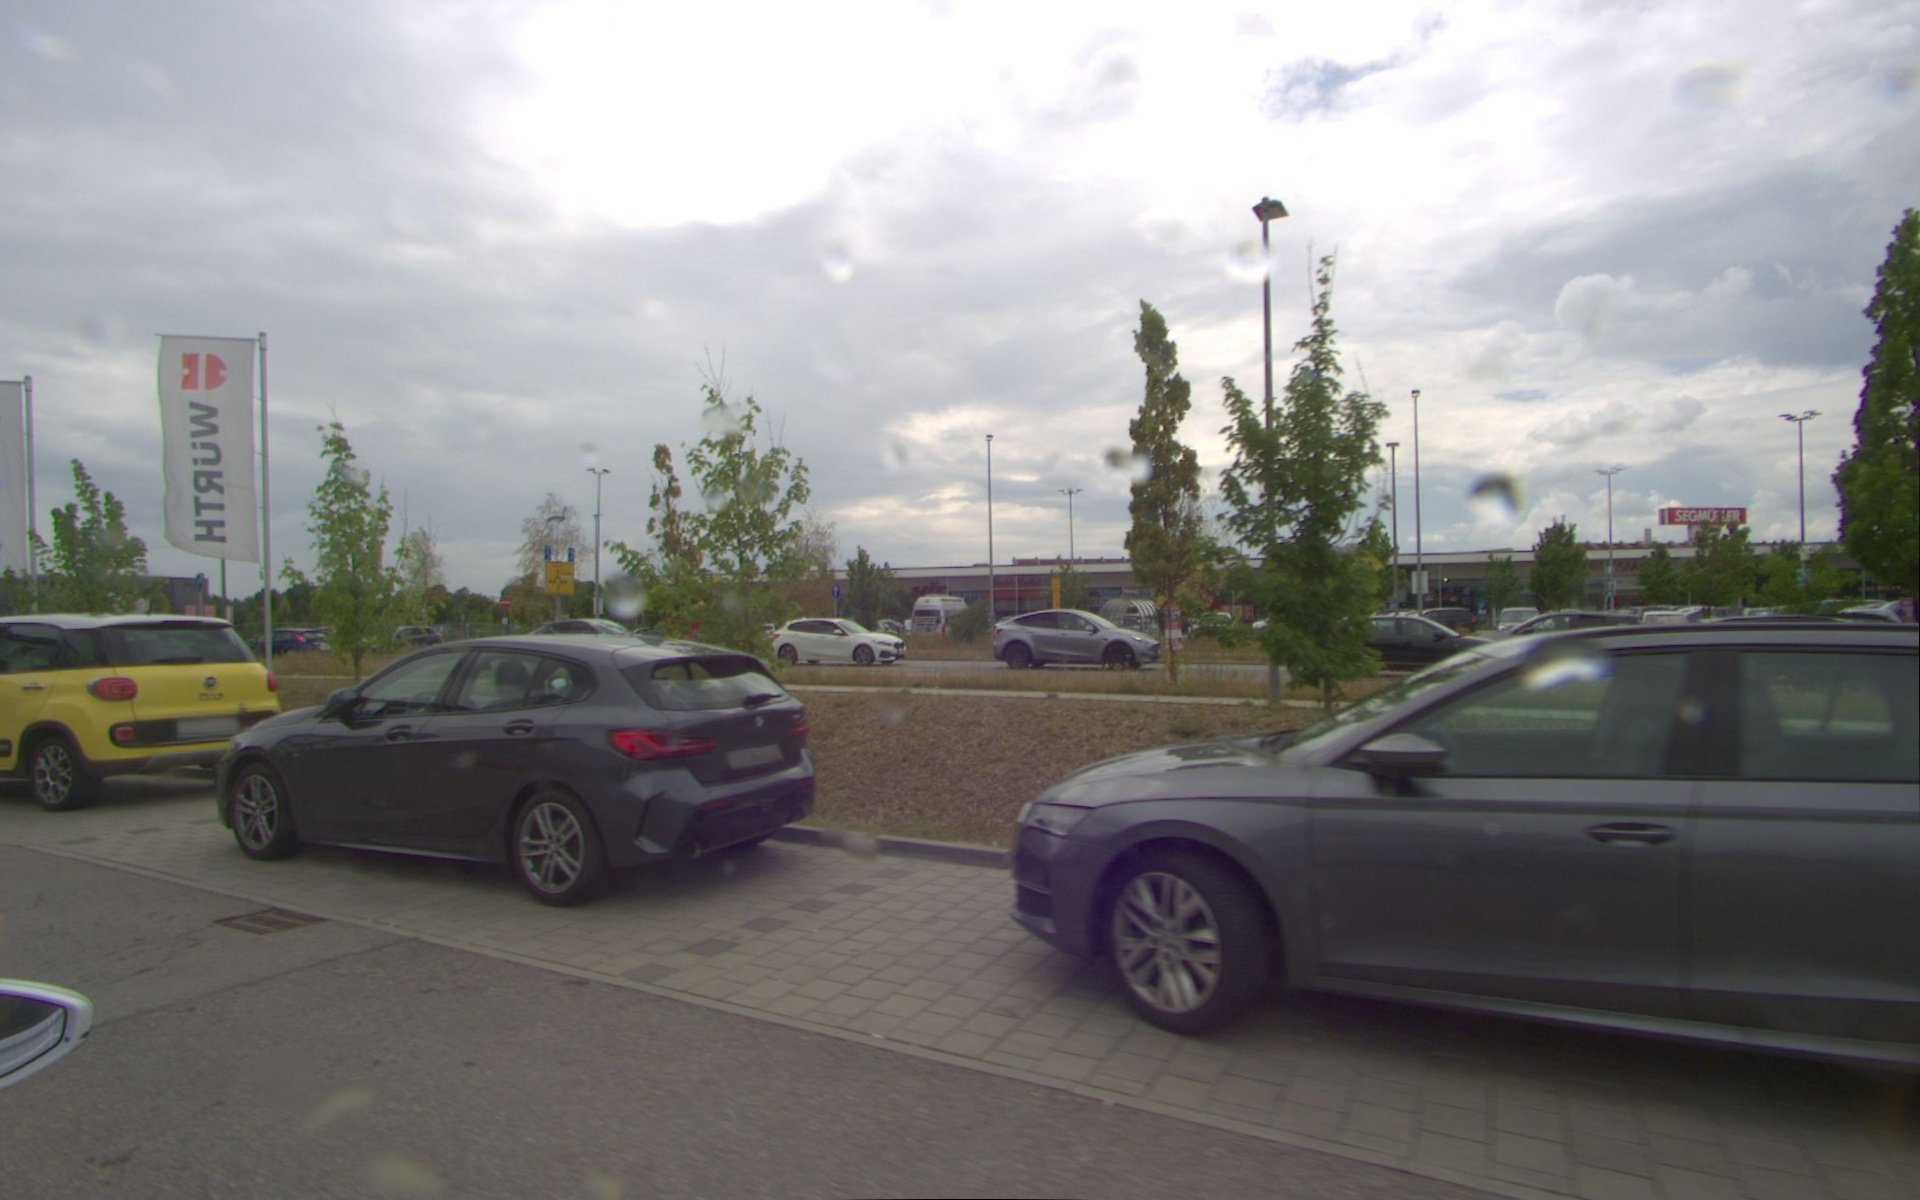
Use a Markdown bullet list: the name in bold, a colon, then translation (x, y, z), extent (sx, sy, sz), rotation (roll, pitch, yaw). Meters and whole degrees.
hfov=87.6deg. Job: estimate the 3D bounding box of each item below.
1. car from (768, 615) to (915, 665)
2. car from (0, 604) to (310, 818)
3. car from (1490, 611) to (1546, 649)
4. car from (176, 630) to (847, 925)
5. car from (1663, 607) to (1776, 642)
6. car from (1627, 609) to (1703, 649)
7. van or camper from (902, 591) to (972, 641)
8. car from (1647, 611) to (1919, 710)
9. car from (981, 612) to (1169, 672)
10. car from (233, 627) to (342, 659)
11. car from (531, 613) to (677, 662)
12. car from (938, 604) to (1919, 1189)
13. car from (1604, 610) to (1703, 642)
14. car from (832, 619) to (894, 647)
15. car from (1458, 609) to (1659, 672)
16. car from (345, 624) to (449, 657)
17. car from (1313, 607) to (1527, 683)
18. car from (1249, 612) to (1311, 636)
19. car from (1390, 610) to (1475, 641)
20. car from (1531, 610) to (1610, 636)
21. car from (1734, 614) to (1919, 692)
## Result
- **car**: translation (-3.672, 1.250, 31.054), extent (4.175, 1.469, 1.797), rotation (-2, -1, 21)
- **car**: translation (-8.564, 0.945, 9.528), extent (4.222, 1.705, 1.751), rotation (-1, -2, 19)
- **car**: translation (23.323, 1.240, 41.952), extent (1.749, 1.495, 3.988), rotation (-1, -1, 25)
- **car**: translation (-3.000, 0.928, 6.598), extent (4.237, 1.434, 1.747), rotation (-1, -2, 26)
- **car**: translation (36.651, 1.191, 48.417), extent (3.924, 1.661, 1.876), rotation (0, -1, 10)
- **car**: translation (27.639, 1.137, 39.379), extent (1.749, 1.495, 3.988), rotation (-1, -1, 25)
- **van or camper**: translation (-1.171, 0.872, 53.356), extent (2.252, 2.524, 3.989), rotation (-1, -1, 24)
- **car**: translation (14.335, 0.963, 16.870), extent (4.300, 1.535, 1.993), rotation (-1, -1, 27)
- **car**: translation (3.125, 1.104, 27.358), extent (4.804, 1.528, 1.805), rotation (0, -1, 25)
- **car**: translation (-28.976, 1.846, 43.181), extent (3.925, 1.341, 1.719), rotation (0, -1, 13)
- **car**: translation (-10.510, 1.089, 29.596), extent (3.933, 1.371, 1.755), rotation (-1, -1, 23)
- **car**: translation (2.333, 0.804, 3.652), extent (4.560, 1.510, 1.747), rotation (-1, -2, 27)
- **car**: translation (37.313, 1.390, 53.976), extent (3.924, 1.661, 1.876), rotation (0, -1, 10)
- **car**: translation (-5.374, 1.851, 55.934), extent (1.960, 1.469, 4.144), rotation (-1, -2, 18)
- **car**: translation (14.938, 1.023, 25.244), extent (4.200, 1.474, 1.992), rotation (-1, -2, 29)
- **car**: translation (-26.969, 1.901, 48.139), extent (1.766, 1.485, 4.314), rotation (-1, -1, 18)
- **car**: translation (10.426, 0.988, 22.868), extent (4.266, 1.589, 1.903), rotation (-1, -1, 26)
- **car**: translation (22.425, 1.667, 70.306), extent (3.924, 1.661, 1.876), rotation (0, -1, 10)
- **car**: translation (26.264, 1.436, 55.760), extent (3.924, 1.661, 1.876), rotation (0, -1, 10)
- **car**: translation (39.378, 1.493, 64.704), extent (3.924, 1.661, 1.876), rotation (0, -1, 10)
- **car**: translation (17.644, 0.994, 19.377), extent (3.940, 1.416, 1.901), rotation (-1, -1, 30)
